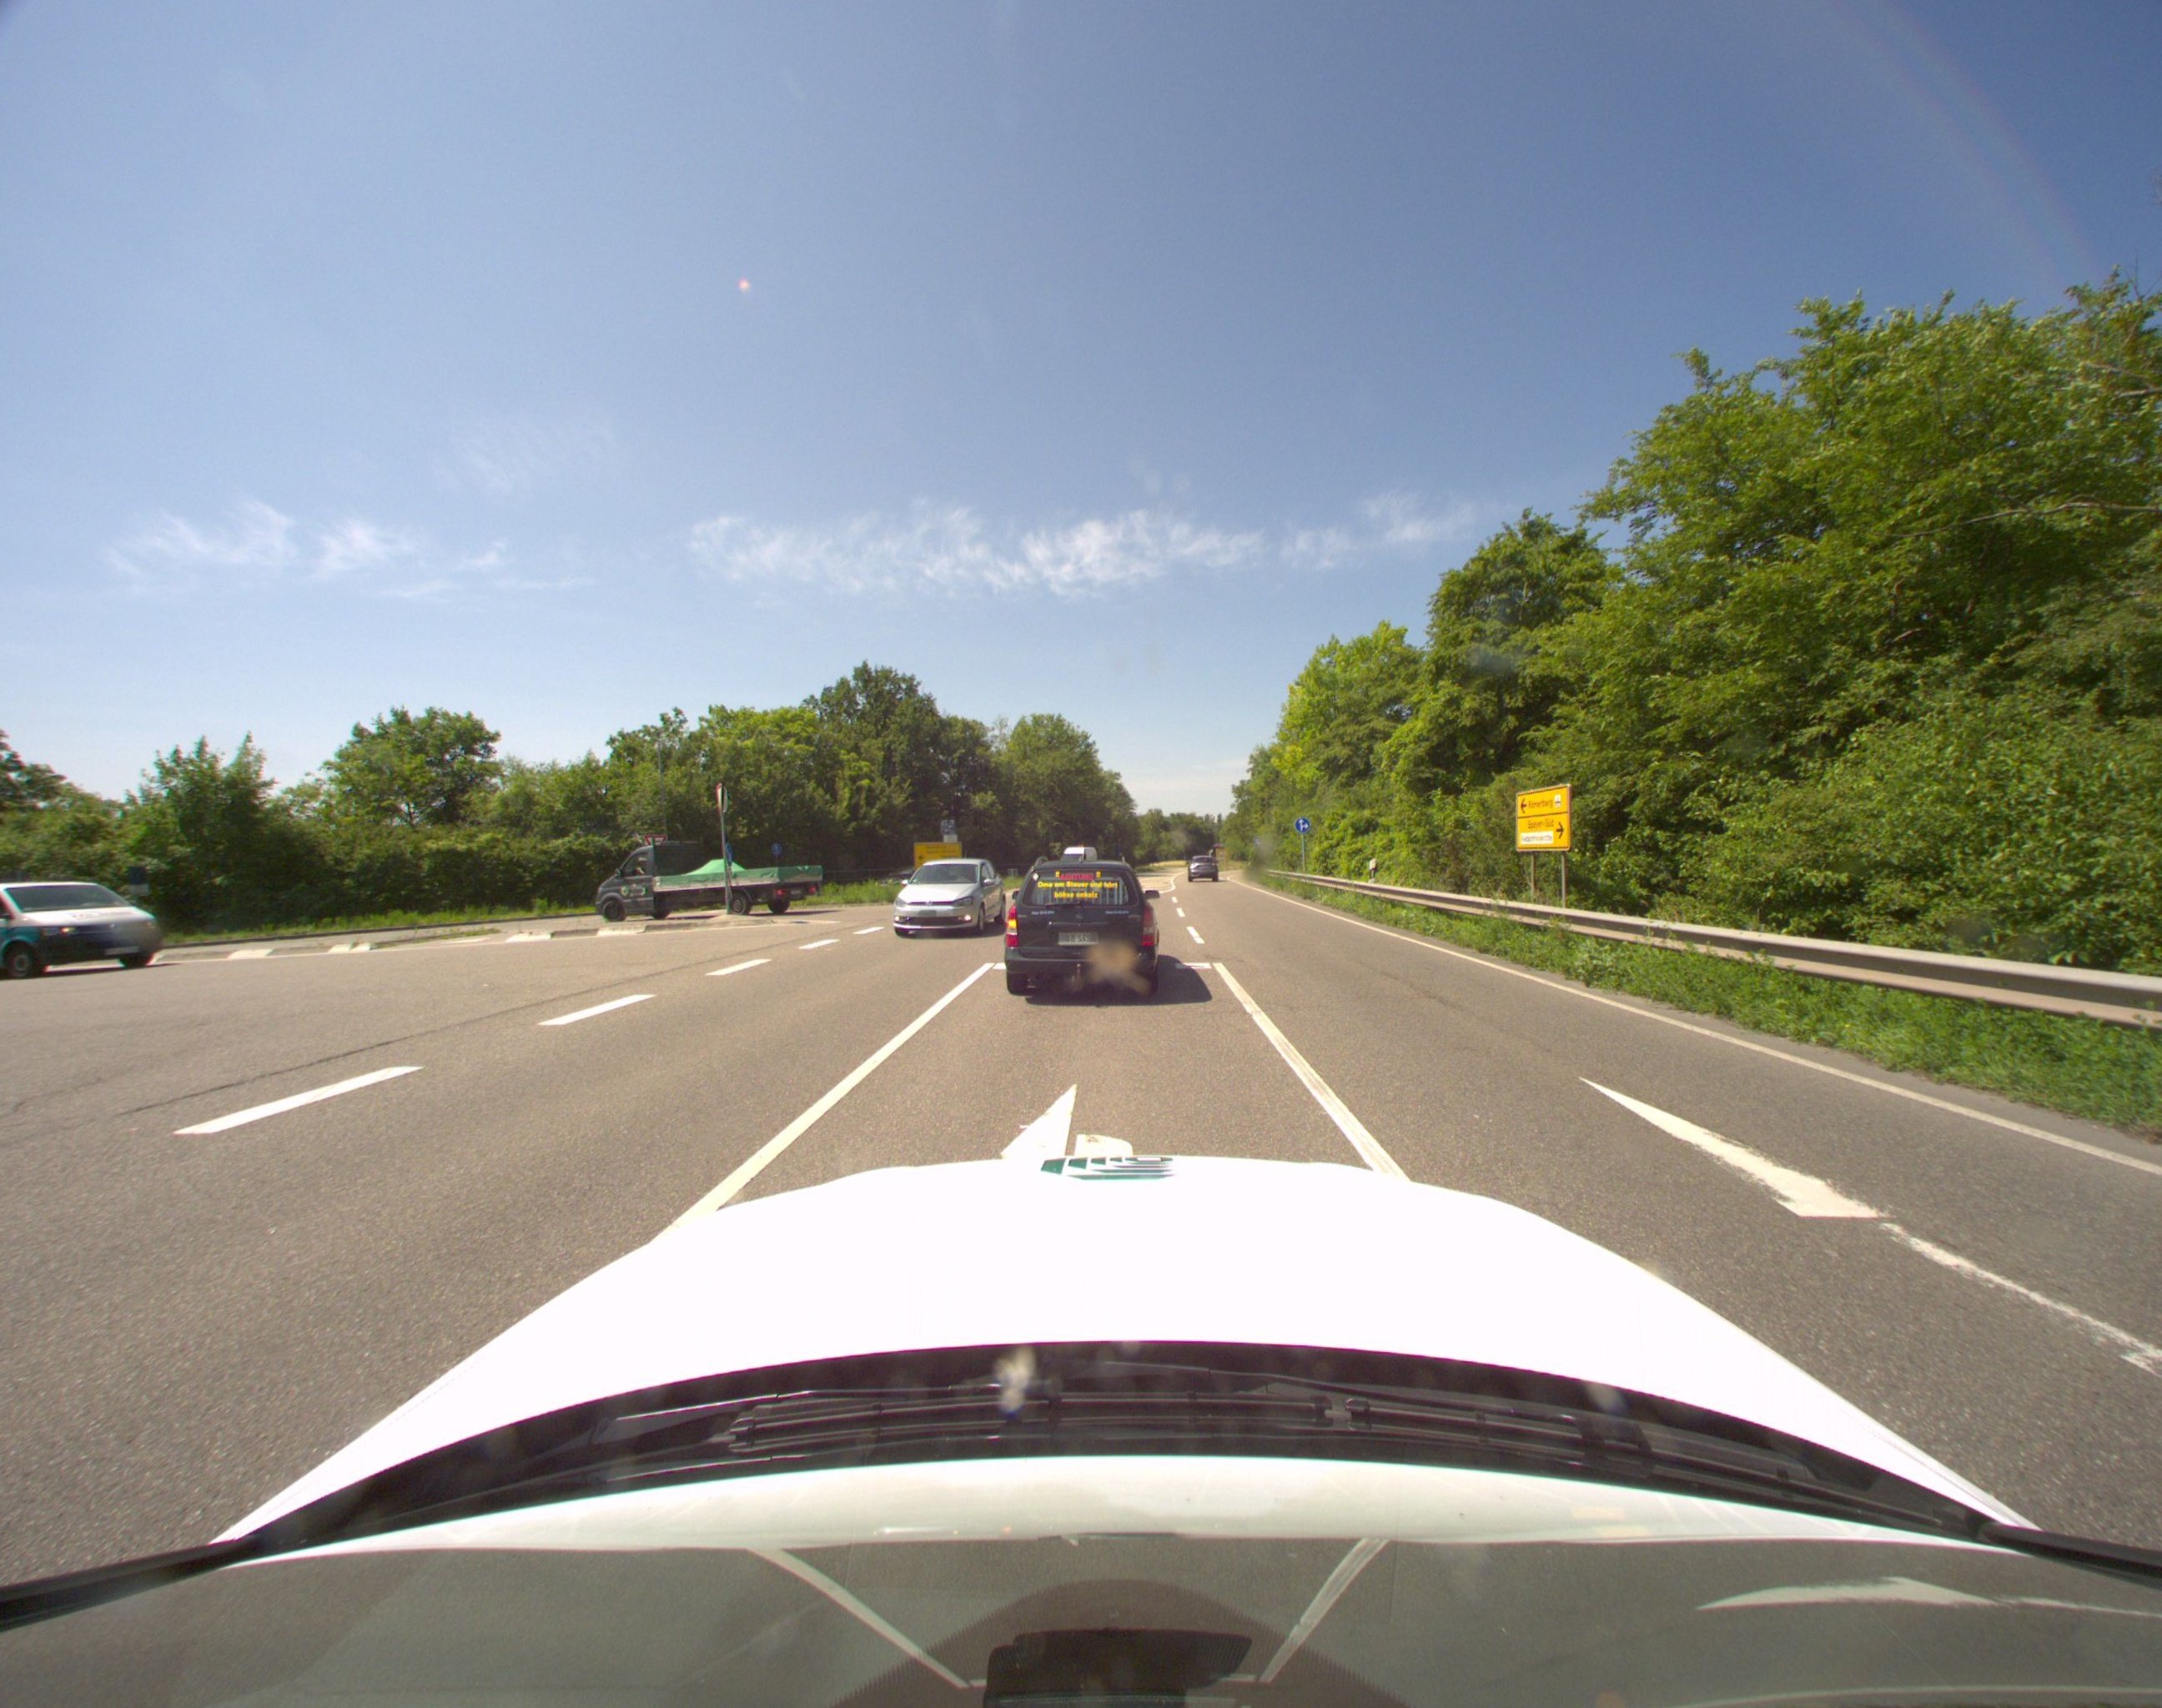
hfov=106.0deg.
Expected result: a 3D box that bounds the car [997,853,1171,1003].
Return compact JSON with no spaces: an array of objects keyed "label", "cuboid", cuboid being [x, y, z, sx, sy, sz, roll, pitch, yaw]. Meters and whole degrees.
[{"label":"car","cuboid":[0.111,0.738,10.043,1.713,1.457,3.800,-1,0,2]}]

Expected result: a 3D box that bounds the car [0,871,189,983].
[{"label":"car","cuboid":[-22.131,1.581,16.997,5.143,2.027,2.004,-4,0,7]}]

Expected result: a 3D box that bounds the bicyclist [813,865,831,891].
[{"label":"bicyclist","cuboid":[-13.943,1.267,43.825,0.681,1.363,0.613,-1,0,36]}]

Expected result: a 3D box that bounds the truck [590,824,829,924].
[{"label":"truck","cuboid":[-11.128,0.634,24.450,6.567,2.565,2.155,-3,-1,15]}]

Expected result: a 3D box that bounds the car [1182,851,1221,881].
[{"label":"car","cuboid":[7.313,0.706,49.617,1.837,1.684,4.001,-1,0,1]}]

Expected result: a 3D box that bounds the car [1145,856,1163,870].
[{"label":"car","cuboid":[16.598,2.082,185.931,2.003,3.226,4.769,-1,0,-25]}]

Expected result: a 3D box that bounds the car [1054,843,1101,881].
[{"label":"car","cuboid":[-0.214,0.633,66.052,2.089,2.850,6.037,-1,0,16]}]

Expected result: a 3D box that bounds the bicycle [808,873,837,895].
[{"label":"bicycle","cuboid":[-13.906,1.615,43.853,0.431,1.113,1.491,-2,0,36]}]

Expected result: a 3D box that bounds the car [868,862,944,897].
[{"label":"car","cuboid":[-9.446,1.362,44.291,1.656,1.662,4.025,-2,0,32]}]

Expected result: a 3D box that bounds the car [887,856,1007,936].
[{"label":"car","cuboid":[-2.578,0.768,16.523,1.638,1.419,3.768,-1,0,3]}]
